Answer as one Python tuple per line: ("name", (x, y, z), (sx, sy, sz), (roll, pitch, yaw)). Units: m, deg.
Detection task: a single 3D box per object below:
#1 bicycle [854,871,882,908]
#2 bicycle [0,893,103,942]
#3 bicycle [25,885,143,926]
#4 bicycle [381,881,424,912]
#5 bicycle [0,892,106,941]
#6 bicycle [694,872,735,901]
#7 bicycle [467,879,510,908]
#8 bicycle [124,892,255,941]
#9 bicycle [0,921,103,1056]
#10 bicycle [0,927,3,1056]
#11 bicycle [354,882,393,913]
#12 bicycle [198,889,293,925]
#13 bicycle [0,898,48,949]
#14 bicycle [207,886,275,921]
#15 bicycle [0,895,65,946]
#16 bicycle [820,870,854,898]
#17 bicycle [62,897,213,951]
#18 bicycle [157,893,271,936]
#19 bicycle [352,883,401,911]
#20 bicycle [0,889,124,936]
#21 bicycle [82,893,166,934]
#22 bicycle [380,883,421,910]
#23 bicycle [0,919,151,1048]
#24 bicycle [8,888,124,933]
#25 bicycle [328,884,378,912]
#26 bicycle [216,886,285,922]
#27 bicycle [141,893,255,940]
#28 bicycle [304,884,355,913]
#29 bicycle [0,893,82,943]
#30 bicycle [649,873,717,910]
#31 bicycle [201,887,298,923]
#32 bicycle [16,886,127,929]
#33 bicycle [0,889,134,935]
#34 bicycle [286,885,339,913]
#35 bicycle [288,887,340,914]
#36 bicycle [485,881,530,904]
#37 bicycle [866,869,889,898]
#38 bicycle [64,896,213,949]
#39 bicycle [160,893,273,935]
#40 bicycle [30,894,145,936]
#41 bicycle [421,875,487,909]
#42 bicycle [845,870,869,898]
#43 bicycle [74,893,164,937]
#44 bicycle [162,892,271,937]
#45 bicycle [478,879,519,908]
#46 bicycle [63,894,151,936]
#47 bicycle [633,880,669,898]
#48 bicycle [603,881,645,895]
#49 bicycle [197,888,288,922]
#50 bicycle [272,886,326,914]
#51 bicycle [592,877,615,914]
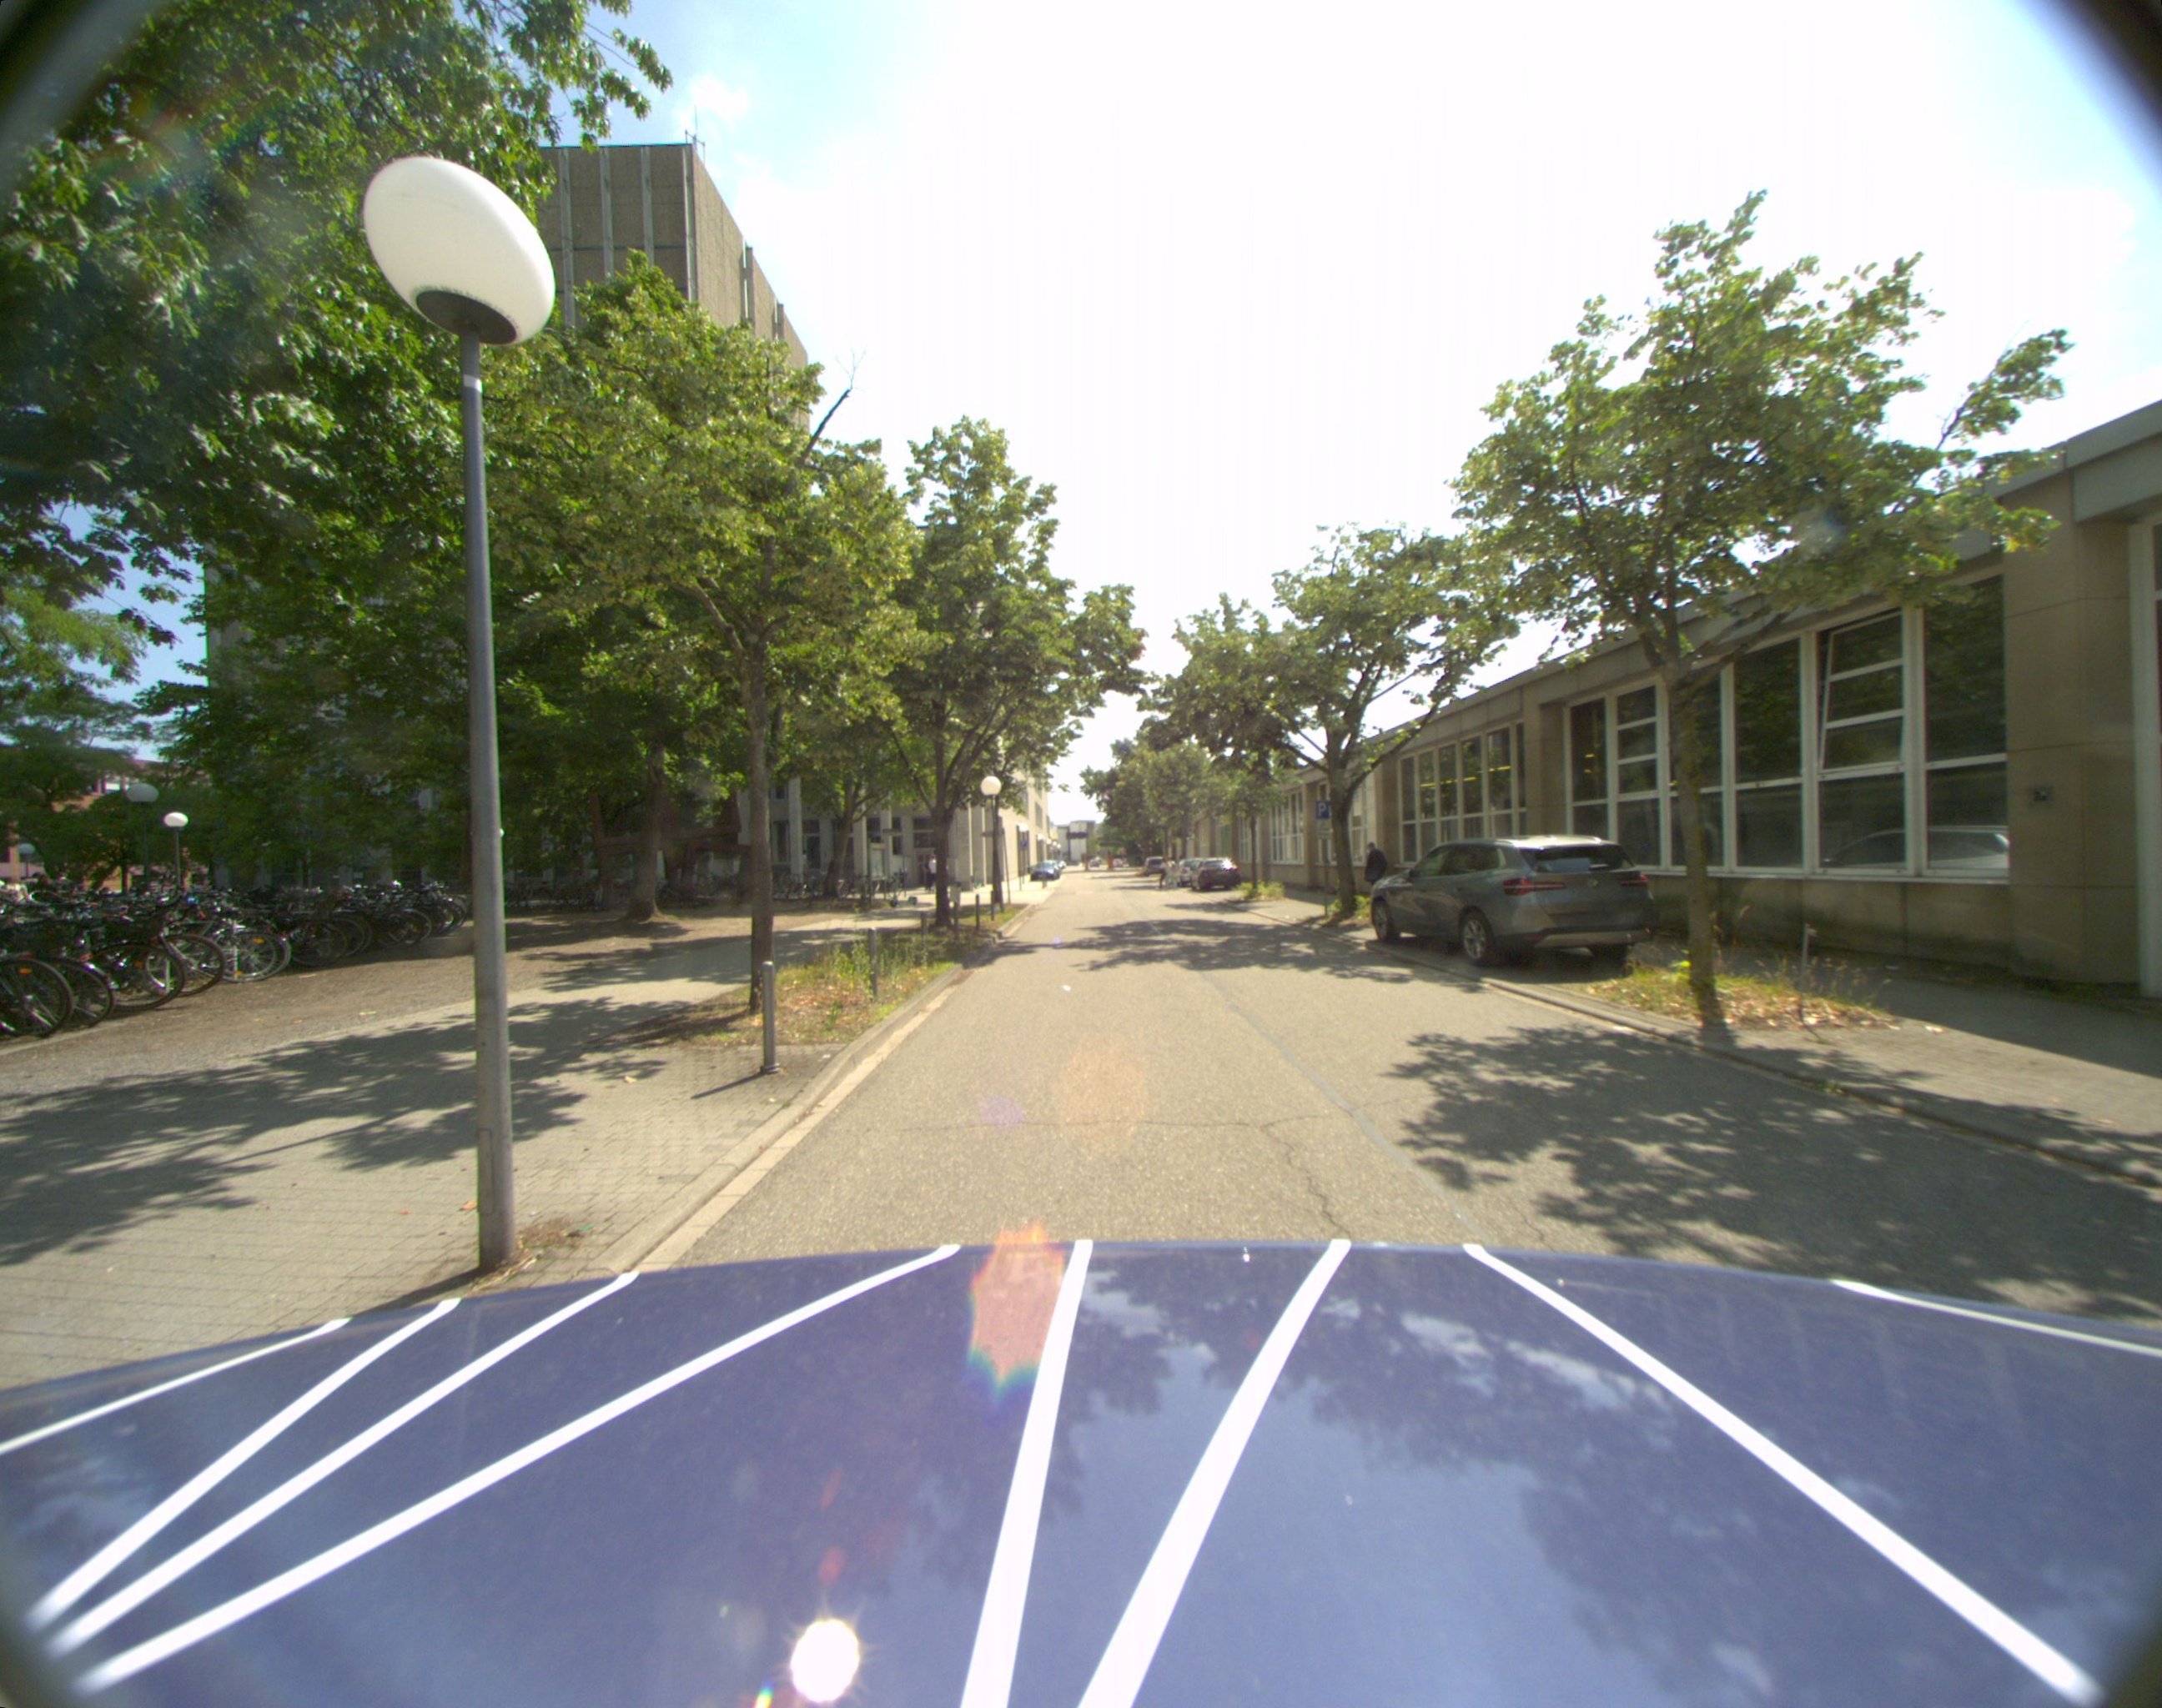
("bicycle", (-7.073, 1.154, 25.213), (0.629, 1.078, 1.684), (-3, 3, -22))
("bicycle", (-22.217, 1.338, 16.041), (1.907, 0.973, 0.378), (0, 0, -30))
("bicycle", (-25.847, 1.318, 19.741), (0.377, 0.973, 1.806), (0, 0, 44))
("bicycle", (-25.892, 1.606, 29.018), (0.352, 1.077, 1.471), (-1, 0, -3))
("bicycle", (-22.670, 1.348, 16.420), (1.907, 0.973, 0.477), (0, 0, -30))
("bicycle", (-13.976, 1.236, 29.033), (0.463, 1.071, 1.829), (0, -2, 9))
("bicycle", (-24.601, 1.627, 31.582), (0.478, 1.123, 1.688), (-4, -1, -4))
("bicycle", (-20.244, 1.399, 17.312), (0.377, 0.973, 1.908), (0, 0, 41))
("bicycle", (-9.594, 1.144, 6.344), (1.950, 1.076, 0.404), (-1, 0, -11))
("bicycle", (-9.792, 1.150, 5.921), (1.773, 1.076, 0.438), (-1, 0, -11))
("bicycle", (-26.799, 1.637, 28.798), (0.353, 1.077, 1.470), (-2, 0, -12))
("bicycle", (-25.401, 1.602, 23.131), (0.477, 0.973, 1.908), (0, 0, 41))
("bicycle", (-21.526, 1.366, 14.647), (1.907, 0.973, 0.378), (0, 0, -30))
("bicycle", (-29.113, 1.705, 26.369), (1.474, 1.077, 0.453), (-3, -1, -34))
("bicycle", (-21.733, 1.334, 15.066), (1.907, 0.973, 0.378), (0, 0, -30))
("bicycle", (-10.091, 1.233, 31.455), (0.491, 1.134, 1.529), (0, -2, 20))
("bicycle", (-19.026, 1.397, 15.373), (1.907, 0.973, 0.378), (0, 0, -30))
("bicycle", (-22.416, 1.541, 19.695), (1.908, 0.973, 0.477), (0, 0, -43))
("bicycle", (-29.144, 1.754, 31.465), (0.478, 1.077, 1.688), (-4, -1, -4))
("bicycle", (-23.405, 1.322, 17.348), (1.907, 0.973, 0.378), (0, 0, -30))
("bicycle", (-27.905, 1.721, 22.192), (0.352, 1.077, 1.475), (-4, -1, 41))
("bicycle", (-28.331, 1.765, 31.661), (0.479, 1.077, 1.687), (-4, -1, -13))
("bicycle", (-9.686, 1.161, 6.765), (1.950, 1.076, 0.404), (-1, 0, -11))
("bicycle", (-24.246, 1.327, 18.185), (1.600, 0.973, 0.403), (0, 0, -39))
("bicycle", (-30.100, 1.820, 31.440), (0.478, 1.077, 1.688), (-4, -1, -4))
("bicycle", (-28.135, 1.687, 25.764), (0.477, 1.077, 1.474), (-4, -1, 33))
("bicycle", (-21.367, 1.490, 18.440), (1.746, 1.017, 0.477), (0, 0, -40))
("bicycle", (-31.004, 1.823, 31.383), (0.478, 1.077, 1.688), (-4, -1, -4))
("bicycle", (-22.119, 1.331, 15.627), (1.907, 0.973, 0.378), (0, 0, -30))
("bicycle", (-13.291, 1.238, 25.388), (1.928, 1.103, 0.631), (-2, 1, -36))
("bicycle", (-24.650, 1.497, 22.570), (1.908, 0.973, 0.477), (0, 0, -44))
("bicycle", (-25.087, 1.317, 18.919), (1.600, 0.973, 0.403), (0, 0, -39))
("bicycle", (-23.610, 1.333, 17.717), (1.907, 0.973, 0.378), (0, 0, -30))
("bicycle", (-31.646, 1.850, 31.310), (0.529, 1.077, 1.688), (-4, -1, -4))
("bicycle", (-32.272, 1.946, 32.005), (0.529, 1.077, 1.688), (-4, -1, -4))
("bicycle", (-29.630, 1.979, 39.270), (1.832, 1.097, 0.570), (-2, -1, -2))
("bicycle", (-8.425, 1.206, 31.490), (0.561, 1.135, 1.489), (0, 1, -2))
("bicycle", (-19.361, 1.391, 15.661), (1.907, 0.973, 0.378), (0, 0, -30))
("bicycle", (-22.666, 1.543, 19.978), (1.908, 0.973, 0.477), (0, 0, -43))
("bicycle", (-26.110, 1.578, 20.015), (0.377, 0.973, 1.806), (0, 0, 44))
("bicycle", (-22.992, 1.377, 27.897), (1.849, 1.163, 0.412), (-1, 0, -38))
("bicycle", (-9.349, 1.245, 31.751), (0.561, 1.134, 1.490), (0, -1, -2))
("bicycle", (-26.448, 1.673, 20.919), (0.352, 1.077, 1.474), (-4, 0, 35))
("bicycle", (-21.652, 1.496, 19.072), (1.746, 1.017, 0.477), (0, 0, -40))
("bicycle", (-24.065, 1.619, 31.415), (0.454, 1.123, 1.688), (-4, -1, -4))
("bicycle", (-27.610, 1.718, 21.562), (0.352, 1.077, 1.475), (-4, -1, 34))
("bicycle", (-22.594, 1.825, 39.923), (0.447, 0.894, 1.779), (-2, -1, 19))
("bicycle", (-26.918, 2.003, 44.779), (1.990, 0.755, 0.643), (0, -1, -9))
("bicycle", (-26.526, 1.590, 24.065), (0.477, 0.973, 1.908), (0, 0, 41))
("bicycle", (-32.832, 1.908, 31.930), (0.529, 1.077, 1.688), (-4, -1, -4))
("bicycle", (-15.489, 1.323, 24.631), (0.476, 1.103, 1.666), (-2, 1, -36))
